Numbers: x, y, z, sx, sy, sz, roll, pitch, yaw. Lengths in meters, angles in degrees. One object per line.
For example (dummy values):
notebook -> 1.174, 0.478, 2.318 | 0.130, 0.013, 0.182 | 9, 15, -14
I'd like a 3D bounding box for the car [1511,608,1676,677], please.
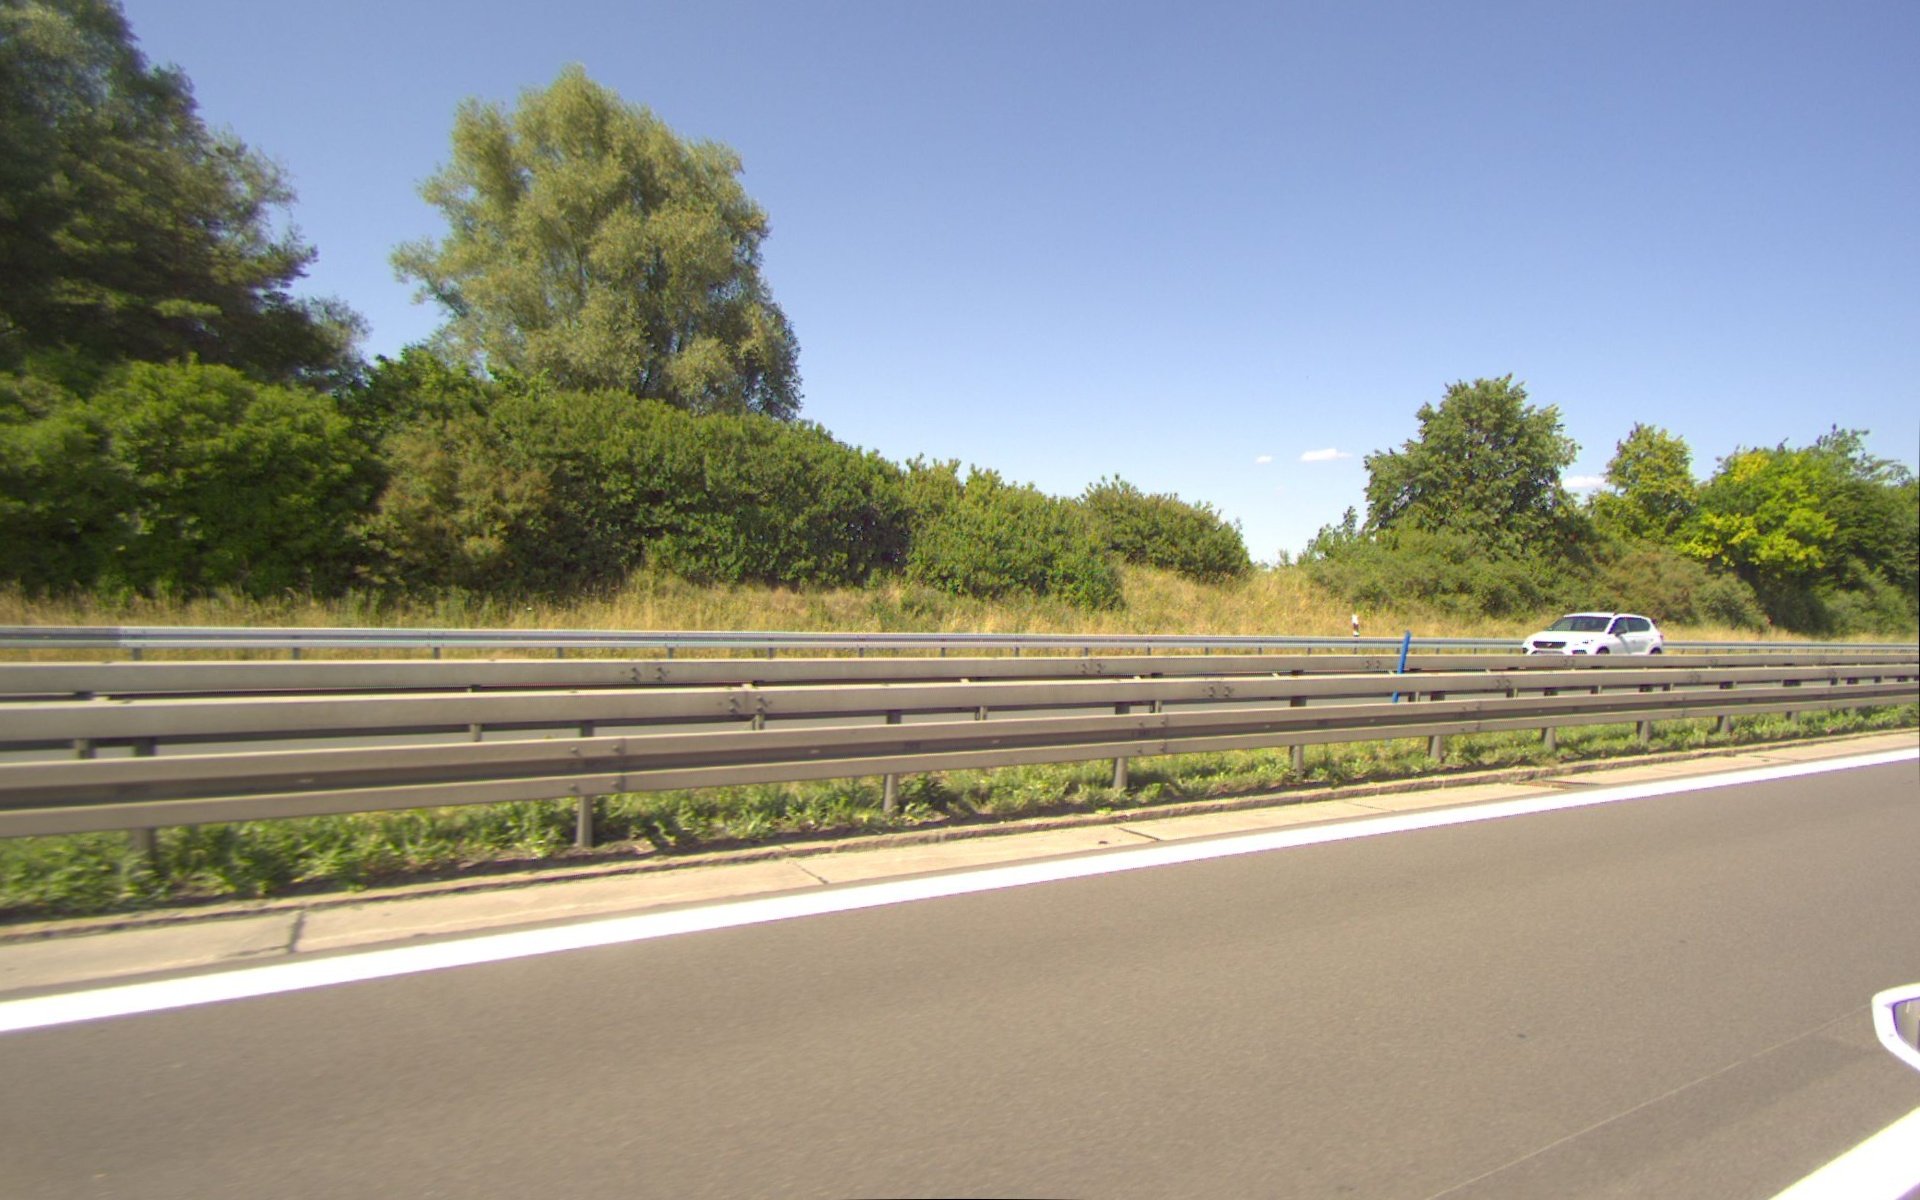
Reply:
car -> 16.507, 1.081, 26.107 | 4.527, 1.586, 1.742 | 2, 1, -31
